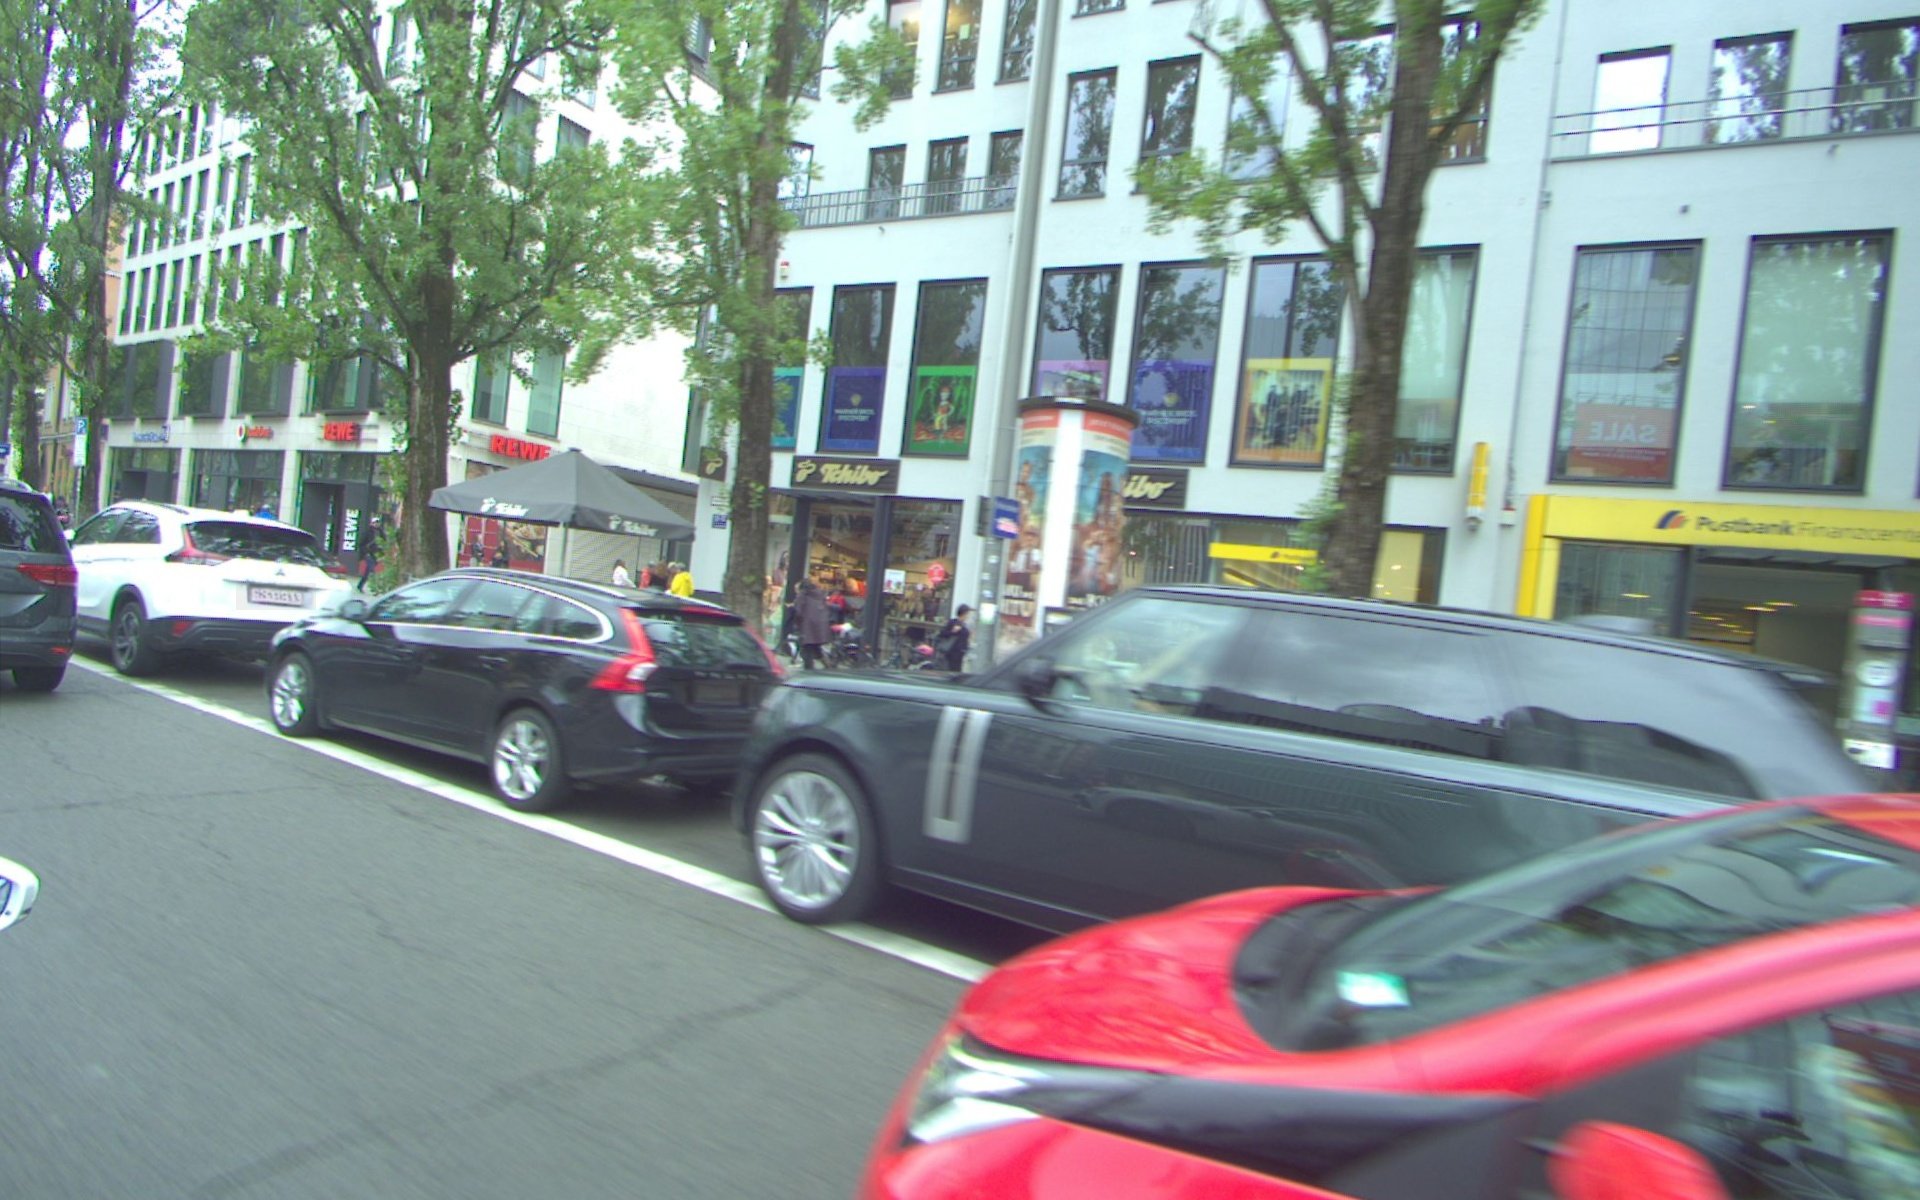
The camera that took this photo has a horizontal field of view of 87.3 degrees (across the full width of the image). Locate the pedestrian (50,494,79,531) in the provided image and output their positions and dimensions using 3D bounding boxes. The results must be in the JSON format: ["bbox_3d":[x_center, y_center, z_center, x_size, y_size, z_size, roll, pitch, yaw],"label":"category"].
[{"bbox_3d":[-40.175,-3.911,45.111,0.701,1.571,0.606,6,2,13],"label":"pedestrian"}]

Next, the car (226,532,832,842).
[{"bbox_3d":[-3.365,0.493,7.581,4.494,1.450,1.775,7,-1,31],"label":"car"}]

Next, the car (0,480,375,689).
[{"bbox_3d":[-8.444,-0.209,10.847,4.335,1.707,1.729,7,0,32],"label":"car"}]

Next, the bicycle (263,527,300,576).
[{"bbox_3d":[-18.257,-1.325,27.070,0.448,1.187,1.746,5,2,-44],"label":"bicycle"}]

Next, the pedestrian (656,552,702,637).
[{"bbox_3d":[-5.661,-0.108,20.266,0.560,1.655,0.490,7,2,35],"label":"pedestrian"}]

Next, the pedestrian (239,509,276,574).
[{"bbox_3d":[-18.637,-1.559,26.679,0.608,1.640,0.784,4,3,-43],"label":"pedestrian"}]

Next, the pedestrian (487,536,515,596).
[{"bbox_3d":[-14.073,-1.044,30.845,0.420,1.773,0.467,7,2,37],"label":"pedestrian"}]

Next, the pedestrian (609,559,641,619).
[{"bbox_3d":[-9.402,-0.313,28.229,0.504,1.599,0.544,7,-1,-45],"label":"pedestrian"}]

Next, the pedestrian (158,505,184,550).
[{"bbox_3d":[-28.069,-2.568,35.811,0.497,1.510,0.544,6,1,-25],"label":"pedestrian"}]

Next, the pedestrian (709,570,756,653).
[{"bbox_3d":[-4.652,0.234,20.596,0.664,1.596,0.565,6,2,5],"label":"pedestrian"}]

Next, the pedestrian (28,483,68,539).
[{"bbox_3d":[-33.097,-3.228,36.502,0.924,1.893,0.816,7,2,37],"label":"pedestrian"}]

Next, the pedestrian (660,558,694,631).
[{"bbox_3d":[-6.615,-0.124,23.488,0.501,1.644,0.545,7,0,-27],"label":"pedestrian"}]

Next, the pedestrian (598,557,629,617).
[{"bbox_3d":[-9.836,-0.374,28.594,0.494,1.644,0.504,6,-1,45],"label":"pedestrian"}]

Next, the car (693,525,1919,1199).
[{"bbox_3d":[1.230,0.841,4.620,4.701,1.826,1.932,7,-1,33],"label":"car"}]

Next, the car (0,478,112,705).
[{"bbox_3d":[-8.781,-0.280,8.055,4.114,1.633,1.763,7,0,32],"label":"car"}]

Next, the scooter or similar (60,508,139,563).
[{"bbox_3d":[-21.671,-1.615,25.354,0.306,1.216,1.435,7,1,31],"label":"scooter or similar"}]

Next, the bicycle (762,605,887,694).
[{"bbox_3d":[-2.016,0.720,14.826,1.775,1.077,0.590,7,1,33],"label":"bicycle"}]

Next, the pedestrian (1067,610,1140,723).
[{"bbox_3d":[2.173,0.994,15.221,0.737,1.578,0.683,7,2,30],"label":"pedestrian"}]

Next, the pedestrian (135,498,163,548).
[{"bbox_3d":[-28.314,-2.680,35.127,0.545,1.658,0.555,6,1,-25],"label":"pedestrian"}]

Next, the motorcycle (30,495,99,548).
[{"bbox_3d":[-26.681,-2.338,29.978,1.612,1.374,0.687,6,1,14],"label":"motorcycle"}]

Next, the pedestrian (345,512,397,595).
[{"bbox_3d":[-14.664,-1.147,25.041,0.911,1.949,0.646,7,2,32],"label":"pedestrian"}]

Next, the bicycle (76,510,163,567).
[{"bbox_3d":[-20.669,-1.503,24.768,0.527,1.223,1.479,7,1,32],"label":"bicycle"}]

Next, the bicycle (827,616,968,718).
[{"bbox_3d":[-0.793,0.868,12.984,1.504,1.154,0.882,5,2,-45],"label":"bicycle"}]

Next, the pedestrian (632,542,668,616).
[{"bbox_3d":[-7.196,-0.471,23.392,0.498,1.644,0.549,7,0,-3],"label":"pedestrian"}]

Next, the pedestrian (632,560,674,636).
[{"bbox_3d":[-6.923,-0.037,22.708,0.499,1.644,0.548,6,0,32],"label":"pedestrian"}]

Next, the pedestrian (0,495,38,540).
[{"bbox_3d":[-36.140,-3.171,38.588,0.923,1.597,0.834,7,1,33],"label":"pedestrian"}]

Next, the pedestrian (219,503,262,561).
[{"bbox_3d":[-23.506,-2.216,32.882,0.669,1.795,0.796,7,1,16],"label":"pedestrian"}]

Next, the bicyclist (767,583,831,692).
[{"bbox_3d":[-2.268,0.533,14.209,0.433,1.466,0.639,7,1,32],"label":"bicyclist"}]

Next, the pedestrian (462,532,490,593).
[{"bbox_3d":[-14.599,-1.123,30.342,0.460,1.773,0.427,6,1,8],"label":"pedestrian"}]

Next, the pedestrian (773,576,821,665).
[{"bbox_3d":[-3.033,0.384,18.743,0.560,1.587,0.490,7,2,34],"label":"pedestrian"}]

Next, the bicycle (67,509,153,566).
[{"bbox_3d":[-21.147,-1.552,25.052,0.527,1.223,1.479,7,1,32],"label":"bicycle"}]

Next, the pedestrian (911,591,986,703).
[{"bbox_3d":[-0.171,0.707,15.236,0.737,1.578,0.683,7,1,30],"label":"pedestrian"}]

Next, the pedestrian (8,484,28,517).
[{"bbox_3d":[-50.301,-5.324,53.706,0.632,1.634,0.671,7,2,43],"label":"pedestrian"}]

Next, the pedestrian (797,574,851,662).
[{"bbox_3d":[-2.861,0.369,21.164,0.665,1.747,0.760,5,2,-41],"label":"pedestrian"}]

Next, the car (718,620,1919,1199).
[{"bbox_3d":[1.552,0.988,1.416,3.536,1.463,1.668,6,-1,31],"label":"car"}]
